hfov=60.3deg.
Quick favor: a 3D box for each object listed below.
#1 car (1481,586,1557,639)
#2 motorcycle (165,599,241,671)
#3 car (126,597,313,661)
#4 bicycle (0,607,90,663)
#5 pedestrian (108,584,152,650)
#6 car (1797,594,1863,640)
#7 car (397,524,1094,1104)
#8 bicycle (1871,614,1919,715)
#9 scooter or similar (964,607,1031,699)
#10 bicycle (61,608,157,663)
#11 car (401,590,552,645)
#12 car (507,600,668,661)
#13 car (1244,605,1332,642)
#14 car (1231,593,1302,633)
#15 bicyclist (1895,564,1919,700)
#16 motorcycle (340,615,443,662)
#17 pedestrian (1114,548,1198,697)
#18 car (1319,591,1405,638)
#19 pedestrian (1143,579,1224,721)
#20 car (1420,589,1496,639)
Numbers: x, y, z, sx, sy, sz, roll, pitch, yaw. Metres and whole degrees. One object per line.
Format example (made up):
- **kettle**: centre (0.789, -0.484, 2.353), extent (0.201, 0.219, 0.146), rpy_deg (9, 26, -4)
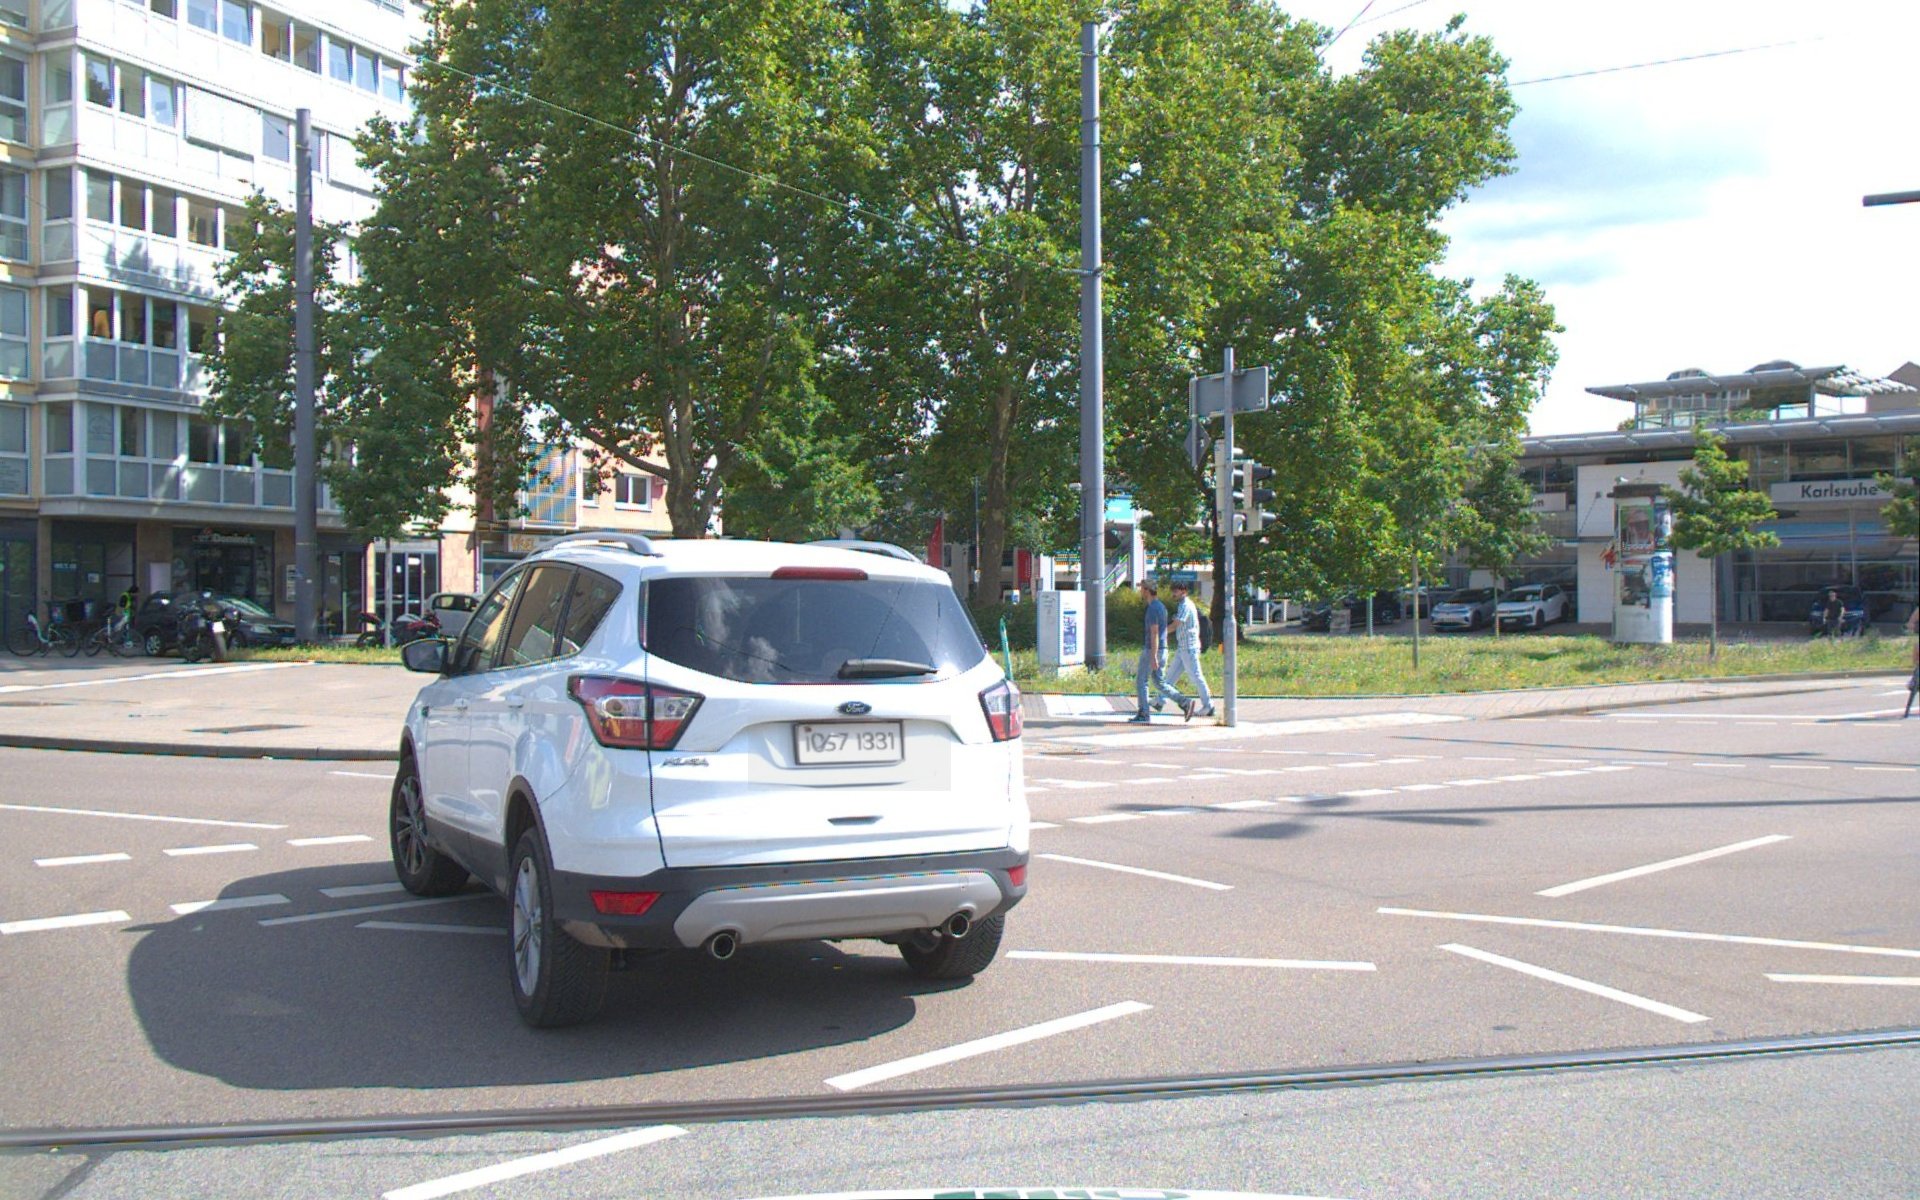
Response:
- **car**: centre (22.728, 0.522, 67.194), extent (1.957, 2.049, 4.220), rpy_deg (-2, -2, 32)
- **motorcycle**: centre (-13.994, 0.628, 30.547), extent (0.895, 1.259, 2.191), rpy_deg (-1, 1, -35)
- **car**: centre (-17.107, 0.654, 38.236), extent (3.905, 1.422, 1.672), rpy_deg (0, -1, 21)
- **bicycle**: centre (-19.846, 0.747, 35.814), extent (1.766, 1.167, 0.797), rpy_deg (0, 0, 19)
- **pedestrian**: centre (-20.854, 0.425, 41.554), extent (0.850, 1.636, 0.821), rpy_deg (1, 1, -36)
- **car**: centre (30.961, 0.633, 58.817), extent (1.785, 1.561, 3.906), rpy_deg (-2, -2, 32)
- **car**: centre (-1.196, 0.622, 7.014), extent (1.805, 1.693, 3.922), rpy_deg (0, 0, -26)
- **bicycle**: centre (12.404, 0.784, 20.973), extent (2.129, 1.213, 0.751), rpy_deg (0, -1, -39)
- **scooter or similar**: centre (0.510, 0.720, 22.944), extent (0.394, 1.214, 1.165), rpy_deg (1, 1, -27)
- **bicycle**: centre (-18.876, 0.778, 36.706), extent (1.903, 1.167, 0.797), rpy_deg (0, 0, 19)
- **car**: centre (-13.964, 0.483, 47.798), extent (3.905, 1.521, 1.803), rpy_deg (0, 0, 22)
- **car**: centre (-9.216, 0.767, 41.244), extent (1.867, 1.438, 3.997), rpy_deg (-1, -1, 25)
- **car**: centre (16.311, 1.192, 82.351), extent (1.829, 1.821, 3.933), rpy_deg (1, -2, -45)
- **car**: centre (14.487, 0.627, 78.310), extent (1.805, 1.821, 3.984), rpy_deg (1, -1, -14)
- **bicyclist**: centre (12.479, 0.399, 21.057), extent (0.753, 1.712, 0.751), rpy_deg (0, -1, -39)
- **motorcycle**: centre (-12.050, 0.806, 35.133), extent (2.005, 0.933, 0.807), rpy_deg (-1, 1, -17)
- **pedestrian**: centre (2.409, 0.265, 20.269), extent (0.904, 1.774, 0.590), rpy_deg (2, 1, 15)
- **car**: centre (17.655, 0.651, 72.468), extent (1.934, 1.971, 5.049), rpy_deg (-2, -2, 36)
- **pedestrian**: centre (2.896, 0.630, 21.432), extent (0.904, 1.774, 0.589), rpy_deg (2, 1, 18)
- **car**: centre (20.801, 0.607, 68.990), extent (1.932, 1.971, 4.220), rpy_deg (-2, -2, 32)
